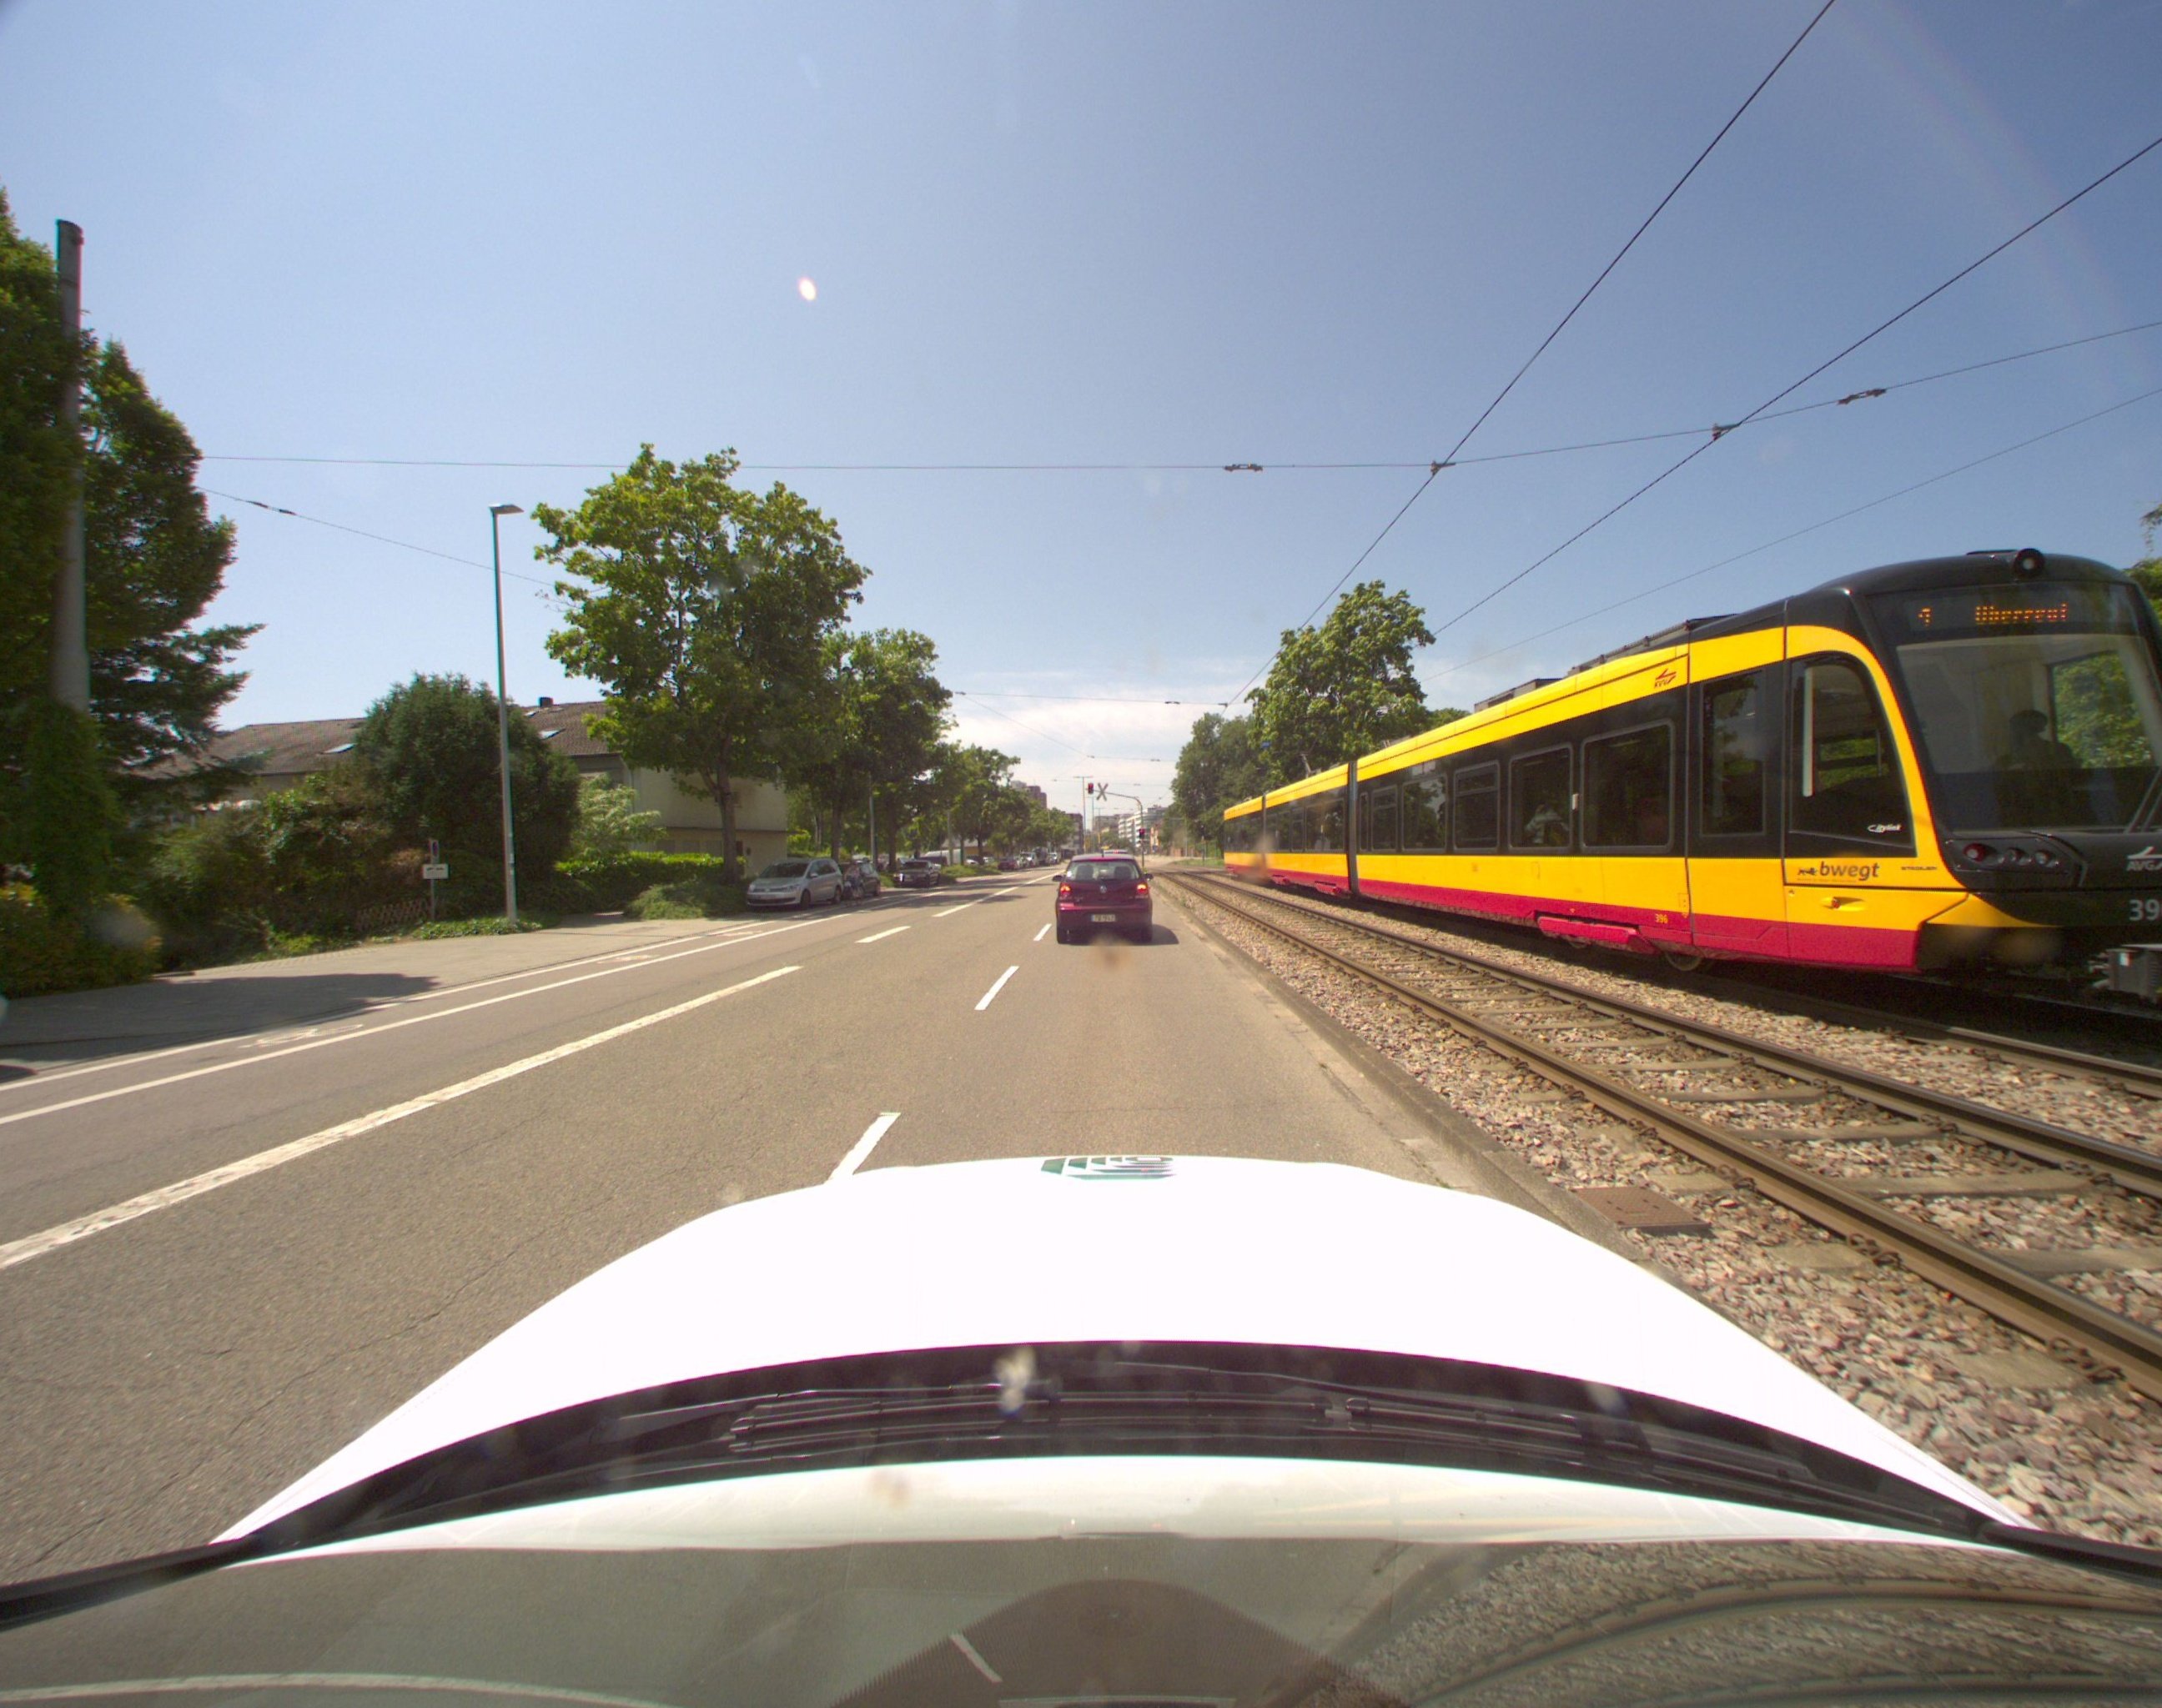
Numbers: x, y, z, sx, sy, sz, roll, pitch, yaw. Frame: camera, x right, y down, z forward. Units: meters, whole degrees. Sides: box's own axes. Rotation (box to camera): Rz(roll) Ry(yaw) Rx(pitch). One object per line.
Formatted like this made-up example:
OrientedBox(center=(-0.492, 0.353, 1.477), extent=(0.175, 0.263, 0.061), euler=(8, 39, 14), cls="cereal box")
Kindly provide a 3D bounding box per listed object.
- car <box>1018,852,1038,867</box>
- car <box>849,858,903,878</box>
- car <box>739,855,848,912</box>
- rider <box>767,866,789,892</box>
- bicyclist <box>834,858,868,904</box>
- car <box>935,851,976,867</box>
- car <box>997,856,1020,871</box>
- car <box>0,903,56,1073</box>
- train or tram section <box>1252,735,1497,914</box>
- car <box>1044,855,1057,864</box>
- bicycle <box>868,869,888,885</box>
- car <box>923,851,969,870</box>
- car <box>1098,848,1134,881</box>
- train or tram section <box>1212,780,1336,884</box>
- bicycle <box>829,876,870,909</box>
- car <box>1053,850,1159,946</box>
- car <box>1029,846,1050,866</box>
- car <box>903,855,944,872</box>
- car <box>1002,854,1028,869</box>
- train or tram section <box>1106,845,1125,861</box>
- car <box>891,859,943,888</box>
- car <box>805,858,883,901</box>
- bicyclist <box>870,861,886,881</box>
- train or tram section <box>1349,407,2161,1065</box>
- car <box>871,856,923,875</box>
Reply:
OrientedBox(center=(-6.423, 0.688, 99.327), extent=(1.774, 1.881, 4.792), euler=(0, -1, 5), cls="car")
OrientedBox(center=(-18.378, 1.225, 73.087), extent=(4.329, 1.585, 1.912), euler=(-2, 0, -1), cls="car")
OrientedBox(center=(-9.651, 0.931, 27.802), extent=(1.866, 1.664, 4.783), euler=(-1, 0, 2), cls="car")
OrientedBox(center=(-17.055, 1.393, 45.886), extent=(0.820, 1.374, 0.814), euler=(-2, 0, 10), cls="rider")
OrientedBox(center=(-7.755, 0.898, 27.477), extent=(0.733, 1.431, 1.124), euler=(-5, 0, -1), cls="bicyclist")
OrientedBox(center=(-17.035, 0.694, 110.702), extent=(5.076, 2.244, 2.380), euler=(0, -1, 3), cls="car")
OrientedBox(center=(-7.338, 0.944, 82.547), extent=(1.655, 1.497, 4.004), euler=(0, -1, 4), cls="car")
OrientedBox(center=(-10.584, 1.204, 5.988), extent=(1.587, 1.495, 3.450), euler=(3, 0, 2), cls="car")
OrientedBox(center=(7.774, -0.664, 24.315), extent=(3.016, 3.797, 13.097), euler=(-2, 0, 2), cls="train or tram section")
OrientedBox(center=(-4.874, 0.932, 129.923), extent=(1.606, 1.441, 4.006), euler=(0, -1, 6), cls="car")
OrientedBox(center=(-13.824, 1.577, 55.470), extent=(0.697, 1.030, 1.832), euler=(0, -1, 5), cls="bicycle")
OrientedBox(center=(-16.468, 0.769, 99.531), extent=(5.076, 2.244, 2.380), euler=(0, -1, 3), cls="car")
OrientedBox(center=(1.806, 0.522, 42.517), extent=(1.770, 1.647, 4.001), euler=(0, 0, 1), cls="car")
OrientedBox(center=(8.313, -0.860, 37.088), extent=(3.016, 3.797, 12.768), euler=(-2, 0, 2), cls="train or tram section")
OrientedBox(center=(-7.765, 1.276, 27.442), extent=(0.699, 0.951, 2.242), euler=(-4, 1, -1), cls="bicycle")
OrientedBox(center=(0.444, 0.689, 14.965), extent=(1.666, 1.521, 4.001), euler=(0, 0, 1), cls="car")
OrientedBox(center=(-5.644, 0.347, 112.363), extent=(2.352, 2.692, 5.311), euler=(0, -1, 3), cls="car")
OrientedBox(center=(-17.173, 1.026, 88.912), extent=(3.973, 1.746, 1.999), euler=(-2, 0, 0), cls="car")
OrientedBox(center=(-7.217, 0.811, 89.100), extent=(1.965, 1.601, 4.566), euler=(0, -1, 7), cls="car")
OrientedBox(center=(7.587, -0.228, 182.020), extent=(2.736, 3.609, 12.848), euler=(0, 0, -5), cls="train or tram section")
OrientedBox(center=(-8.954, 1.023, 44.807), extent=(1.812, 1.476, 4.451), euler=(0, 0, 2), cls="car")
OrientedBox(center=(-9.458, 0.966, 32.895), extent=(1.812, 1.564, 4.183), euler=(0, 0, 2), cls="car")
OrientedBox(center=(-13.802, 1.135, 55.446), extent=(0.805, 1.374, 0.829), euler=(0, -1, 5), cls="bicyclist")
OrientedBox(center=(7.161, -0.744, 11.260), extent=(3.016, 3.797, 13.097), euler=(-2, 0, 2), cls="train or tram section")
OrientedBox(center=(-17.630, 1.127, 78.169), extent=(4.319, 1.585, 1.917), euler=(-2, 0, 7), cls="car")
